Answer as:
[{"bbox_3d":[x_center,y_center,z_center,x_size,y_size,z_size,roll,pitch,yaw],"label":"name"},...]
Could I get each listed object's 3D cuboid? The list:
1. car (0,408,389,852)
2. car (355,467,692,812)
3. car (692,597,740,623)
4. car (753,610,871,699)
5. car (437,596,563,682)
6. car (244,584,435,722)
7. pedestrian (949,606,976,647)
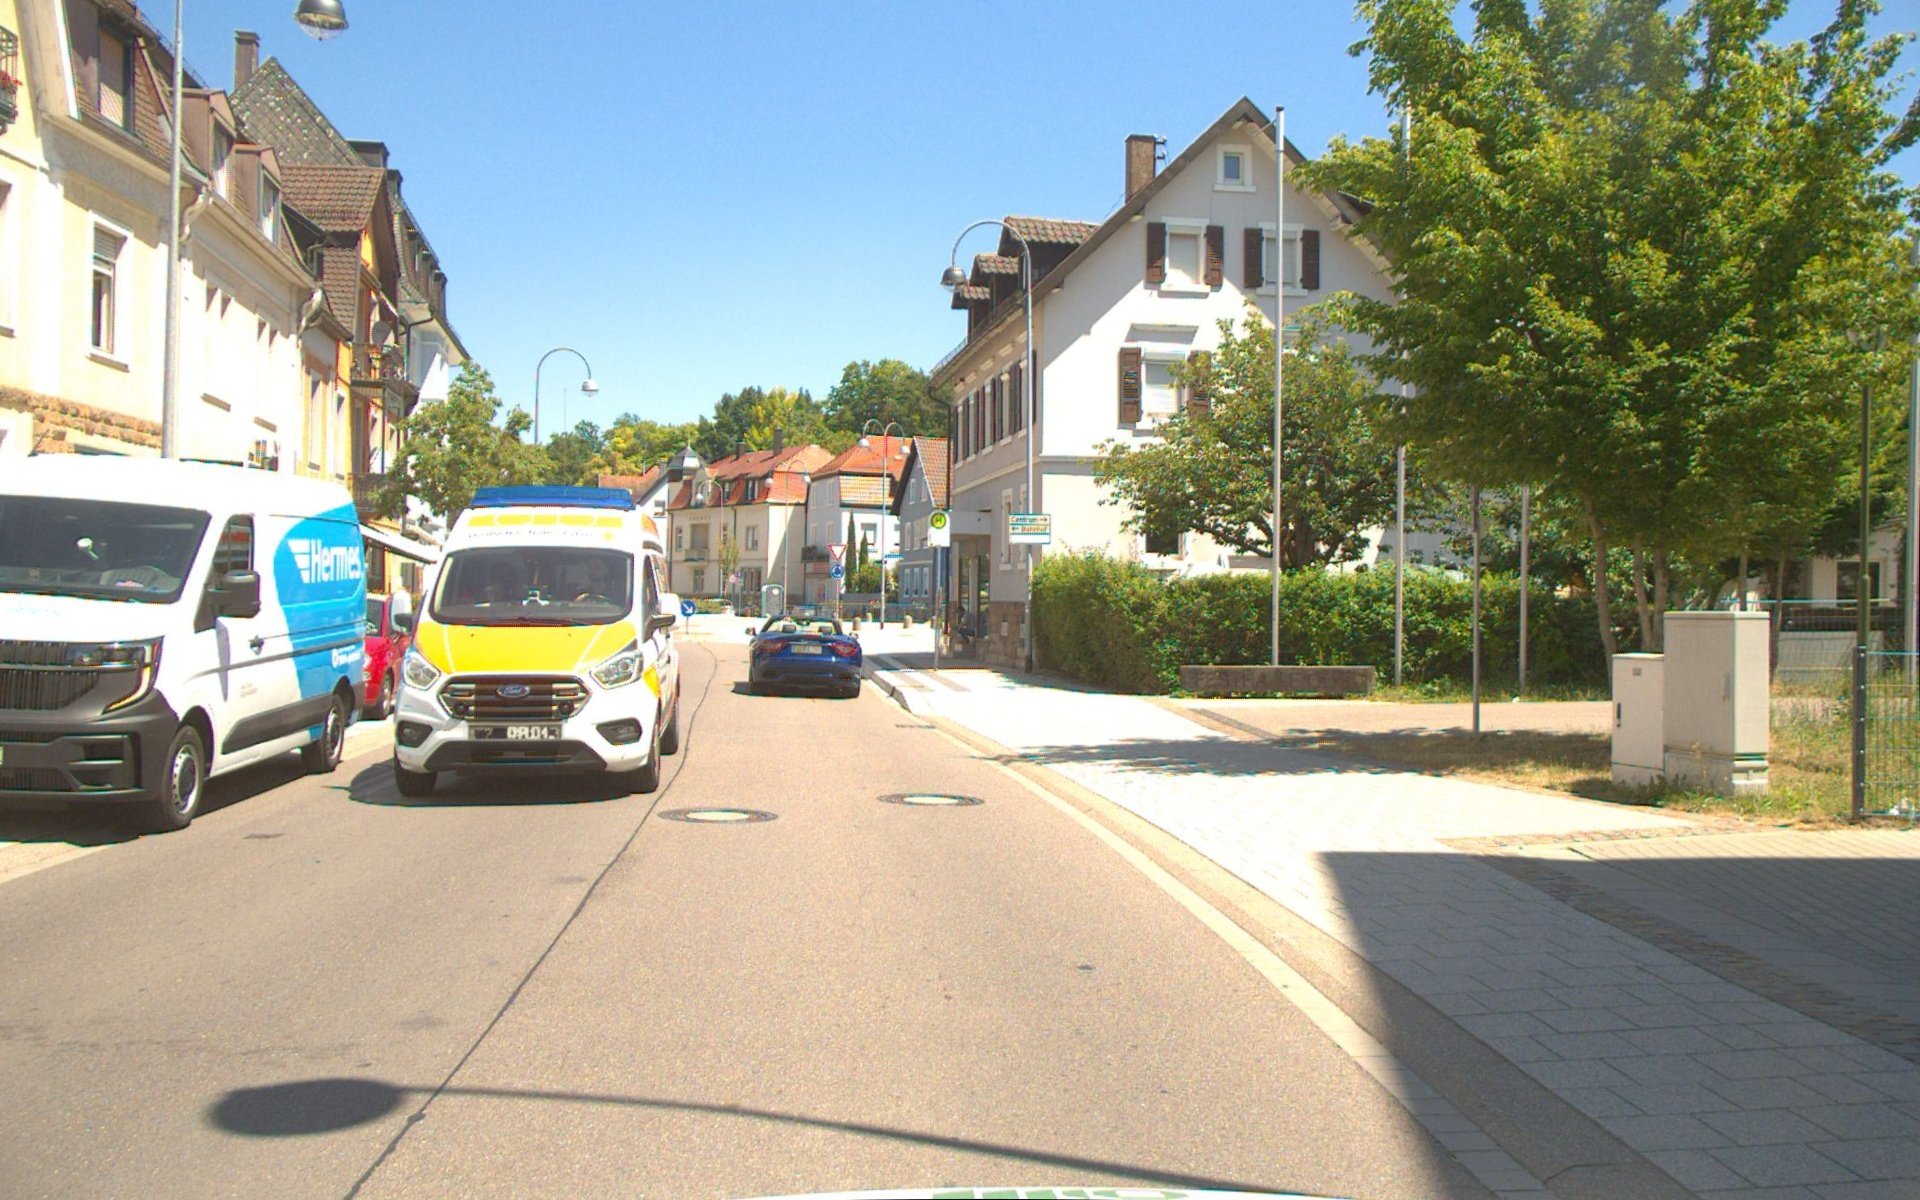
[{"bbox_3d":[-6.016,0.155,12.275,2.052,2.542,5.496,3,0,-6],"label":"car"},{"bbox_3d":[-3.487,0.269,14.266,2.115,2.403,5.239,0,0,-7],"label":"car"},{"bbox_3d":[-15.985,0.668,108.216,1.897,1.641,4.109,1,-1,-28],"label":"car"},{"bbox_3d":[-2.674,0.908,29.131,1.874,1.384,4.278,2,0,-7],"label":"car"},{"bbox_3d":[-9.204,0.736,33.388,1.880,1.507,4.328,4,0,-9],"label":"car"},{"bbox_3d":[-7.730,0.641,20.886,1.531,1.547,3.507,2,-1,-9],"label":"car"},{"bbox_3d":[0.062,0.674,42.524,0.579,1.017,0.722,0,0,-10],"label":"pedestrian"}]
